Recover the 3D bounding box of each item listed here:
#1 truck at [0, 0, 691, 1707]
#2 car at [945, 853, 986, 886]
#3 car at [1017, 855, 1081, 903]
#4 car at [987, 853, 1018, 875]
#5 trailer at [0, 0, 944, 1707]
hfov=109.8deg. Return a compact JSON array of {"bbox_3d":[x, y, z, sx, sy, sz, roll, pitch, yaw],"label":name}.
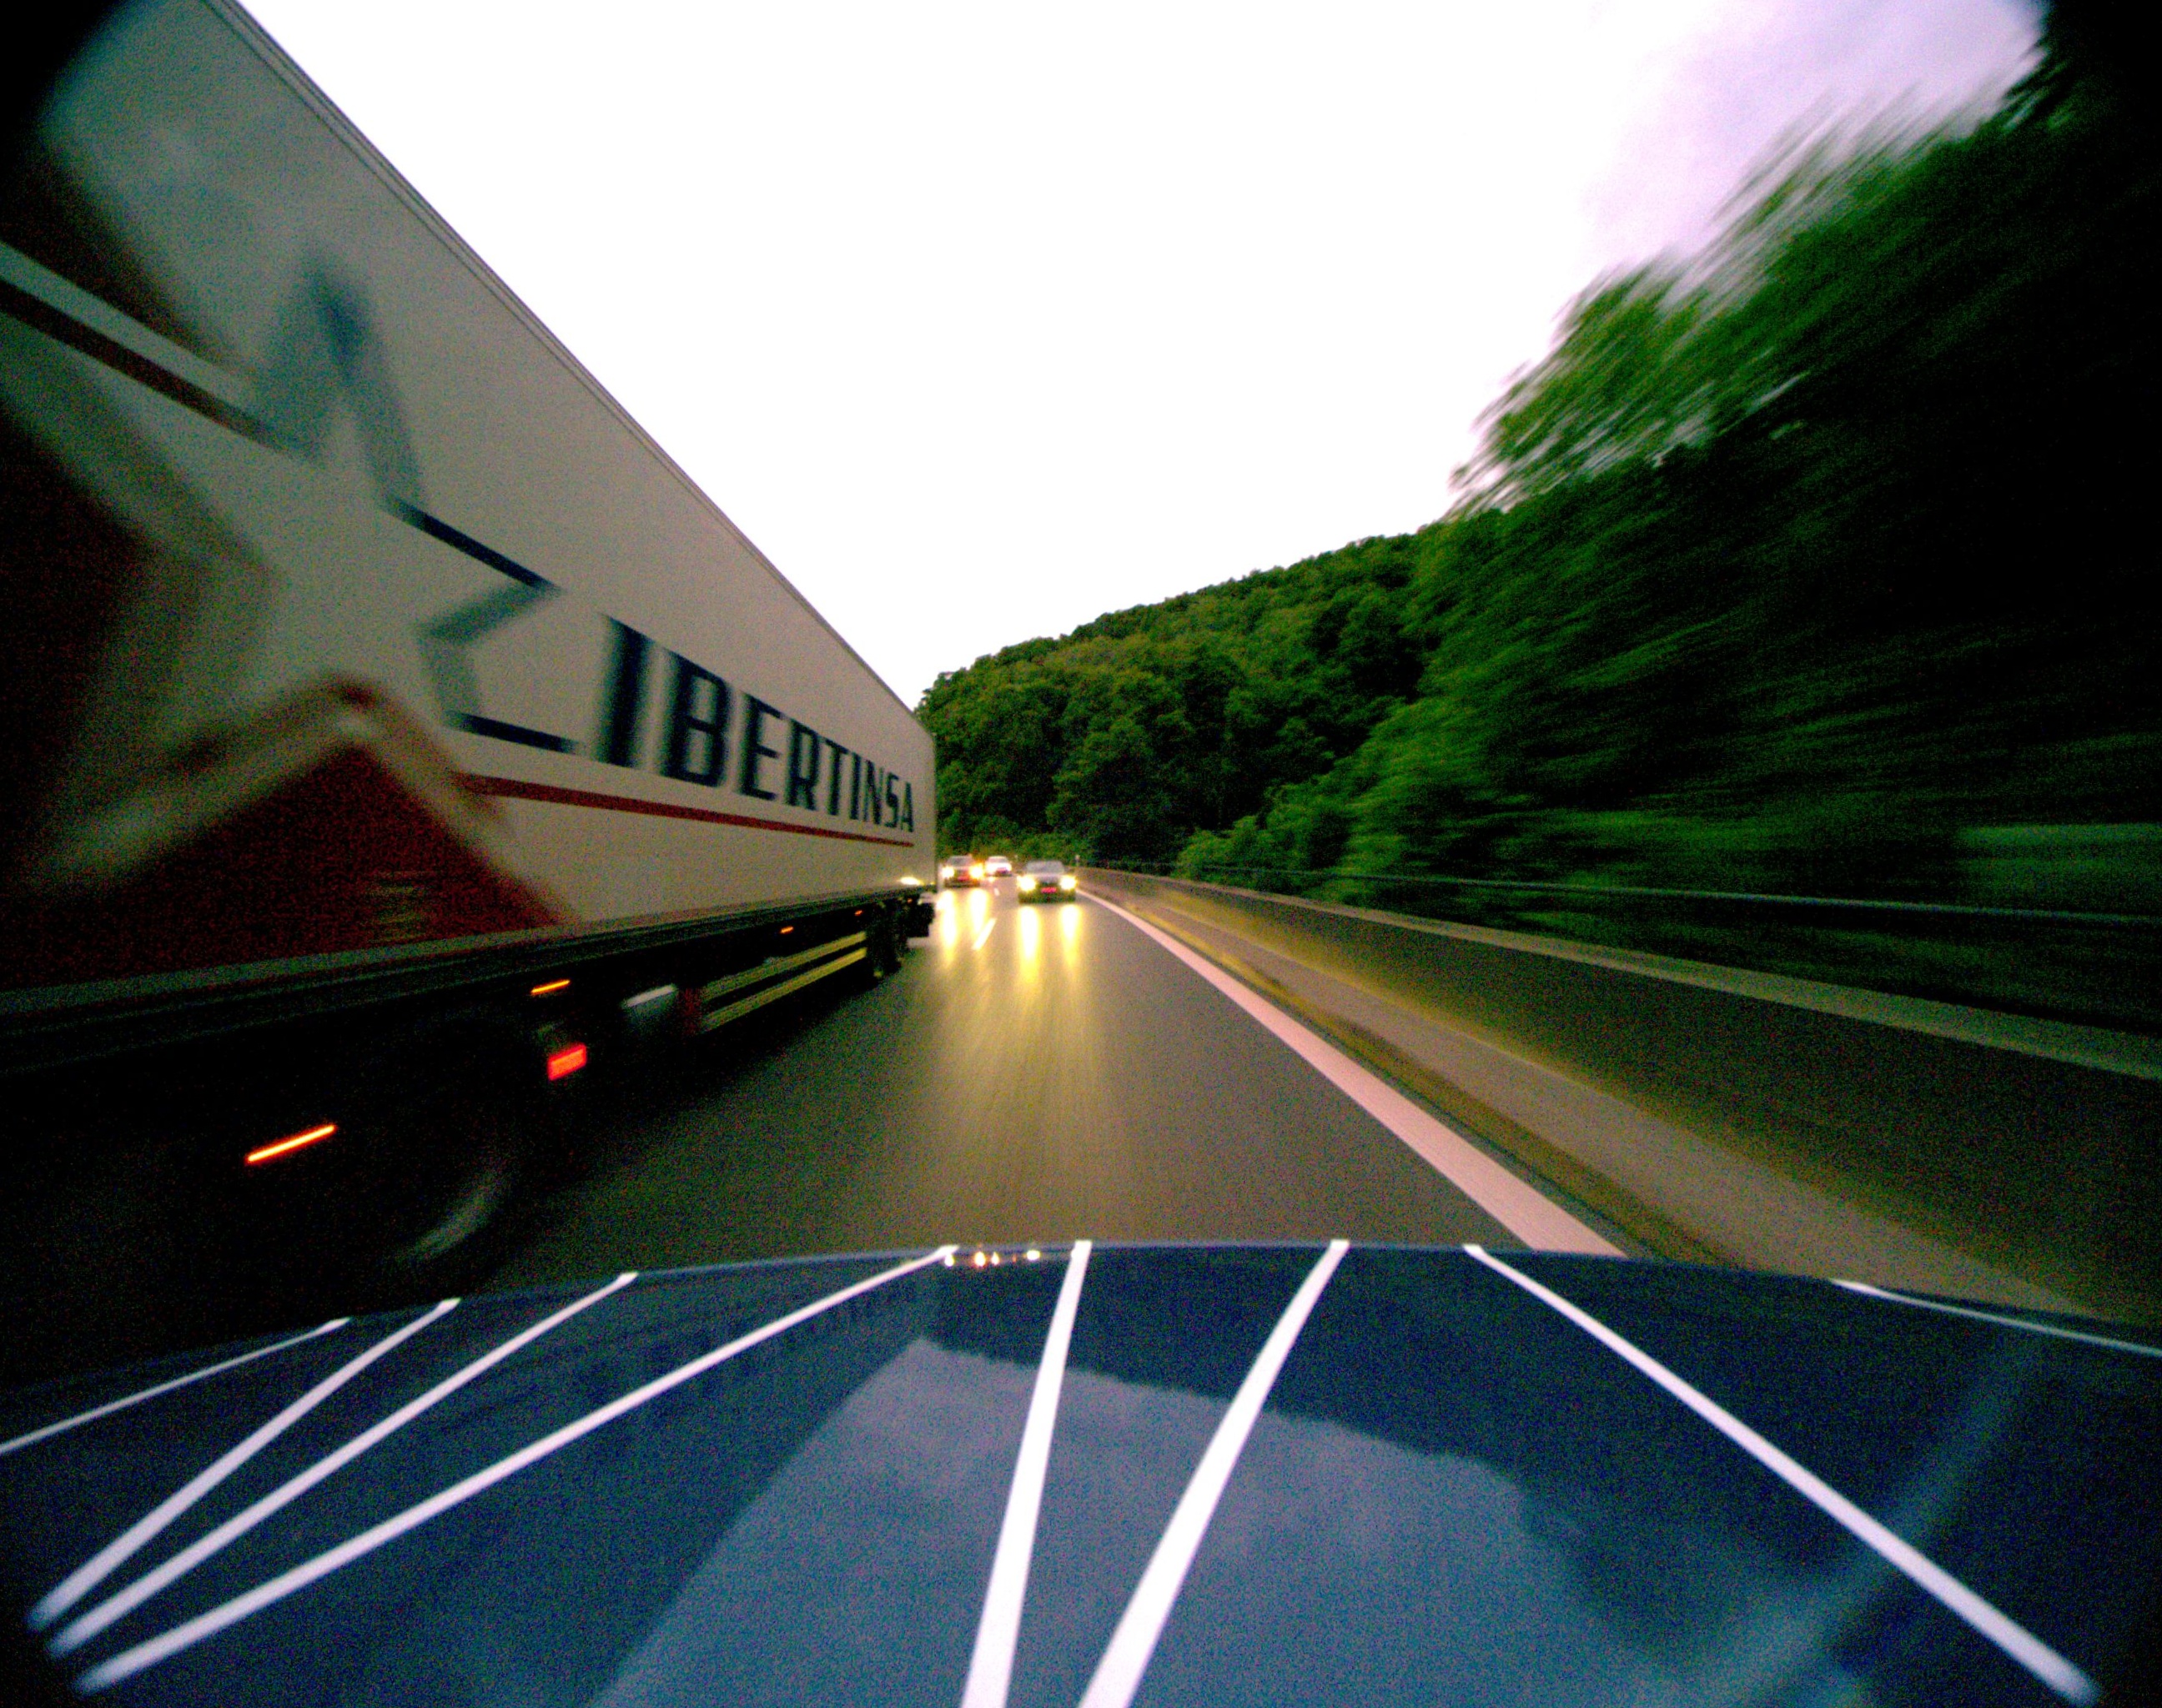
[{"bbox_3d":[-3.651,-0.310,0.975,3.077,4.120,6.445,0,0,-1],"label":"truck"},{"bbox_3d":[-6.202,0.796,40.444,2.000,1.630,3.996,0,0,-11],"label":"car"},{"bbox_3d":[-1.216,0.832,27.013,1.999,1.499,3.997,-1,1,-6],"label":"car"},{"bbox_3d":[-5.965,0.700,57.052,2.000,1.499,3.996,3,0,-9],"label":"car"},{"bbox_3d":[-3.893,-0.171,7.088,3.105,3.947,14.213,0,0,-2],"label":"trailer"}]
